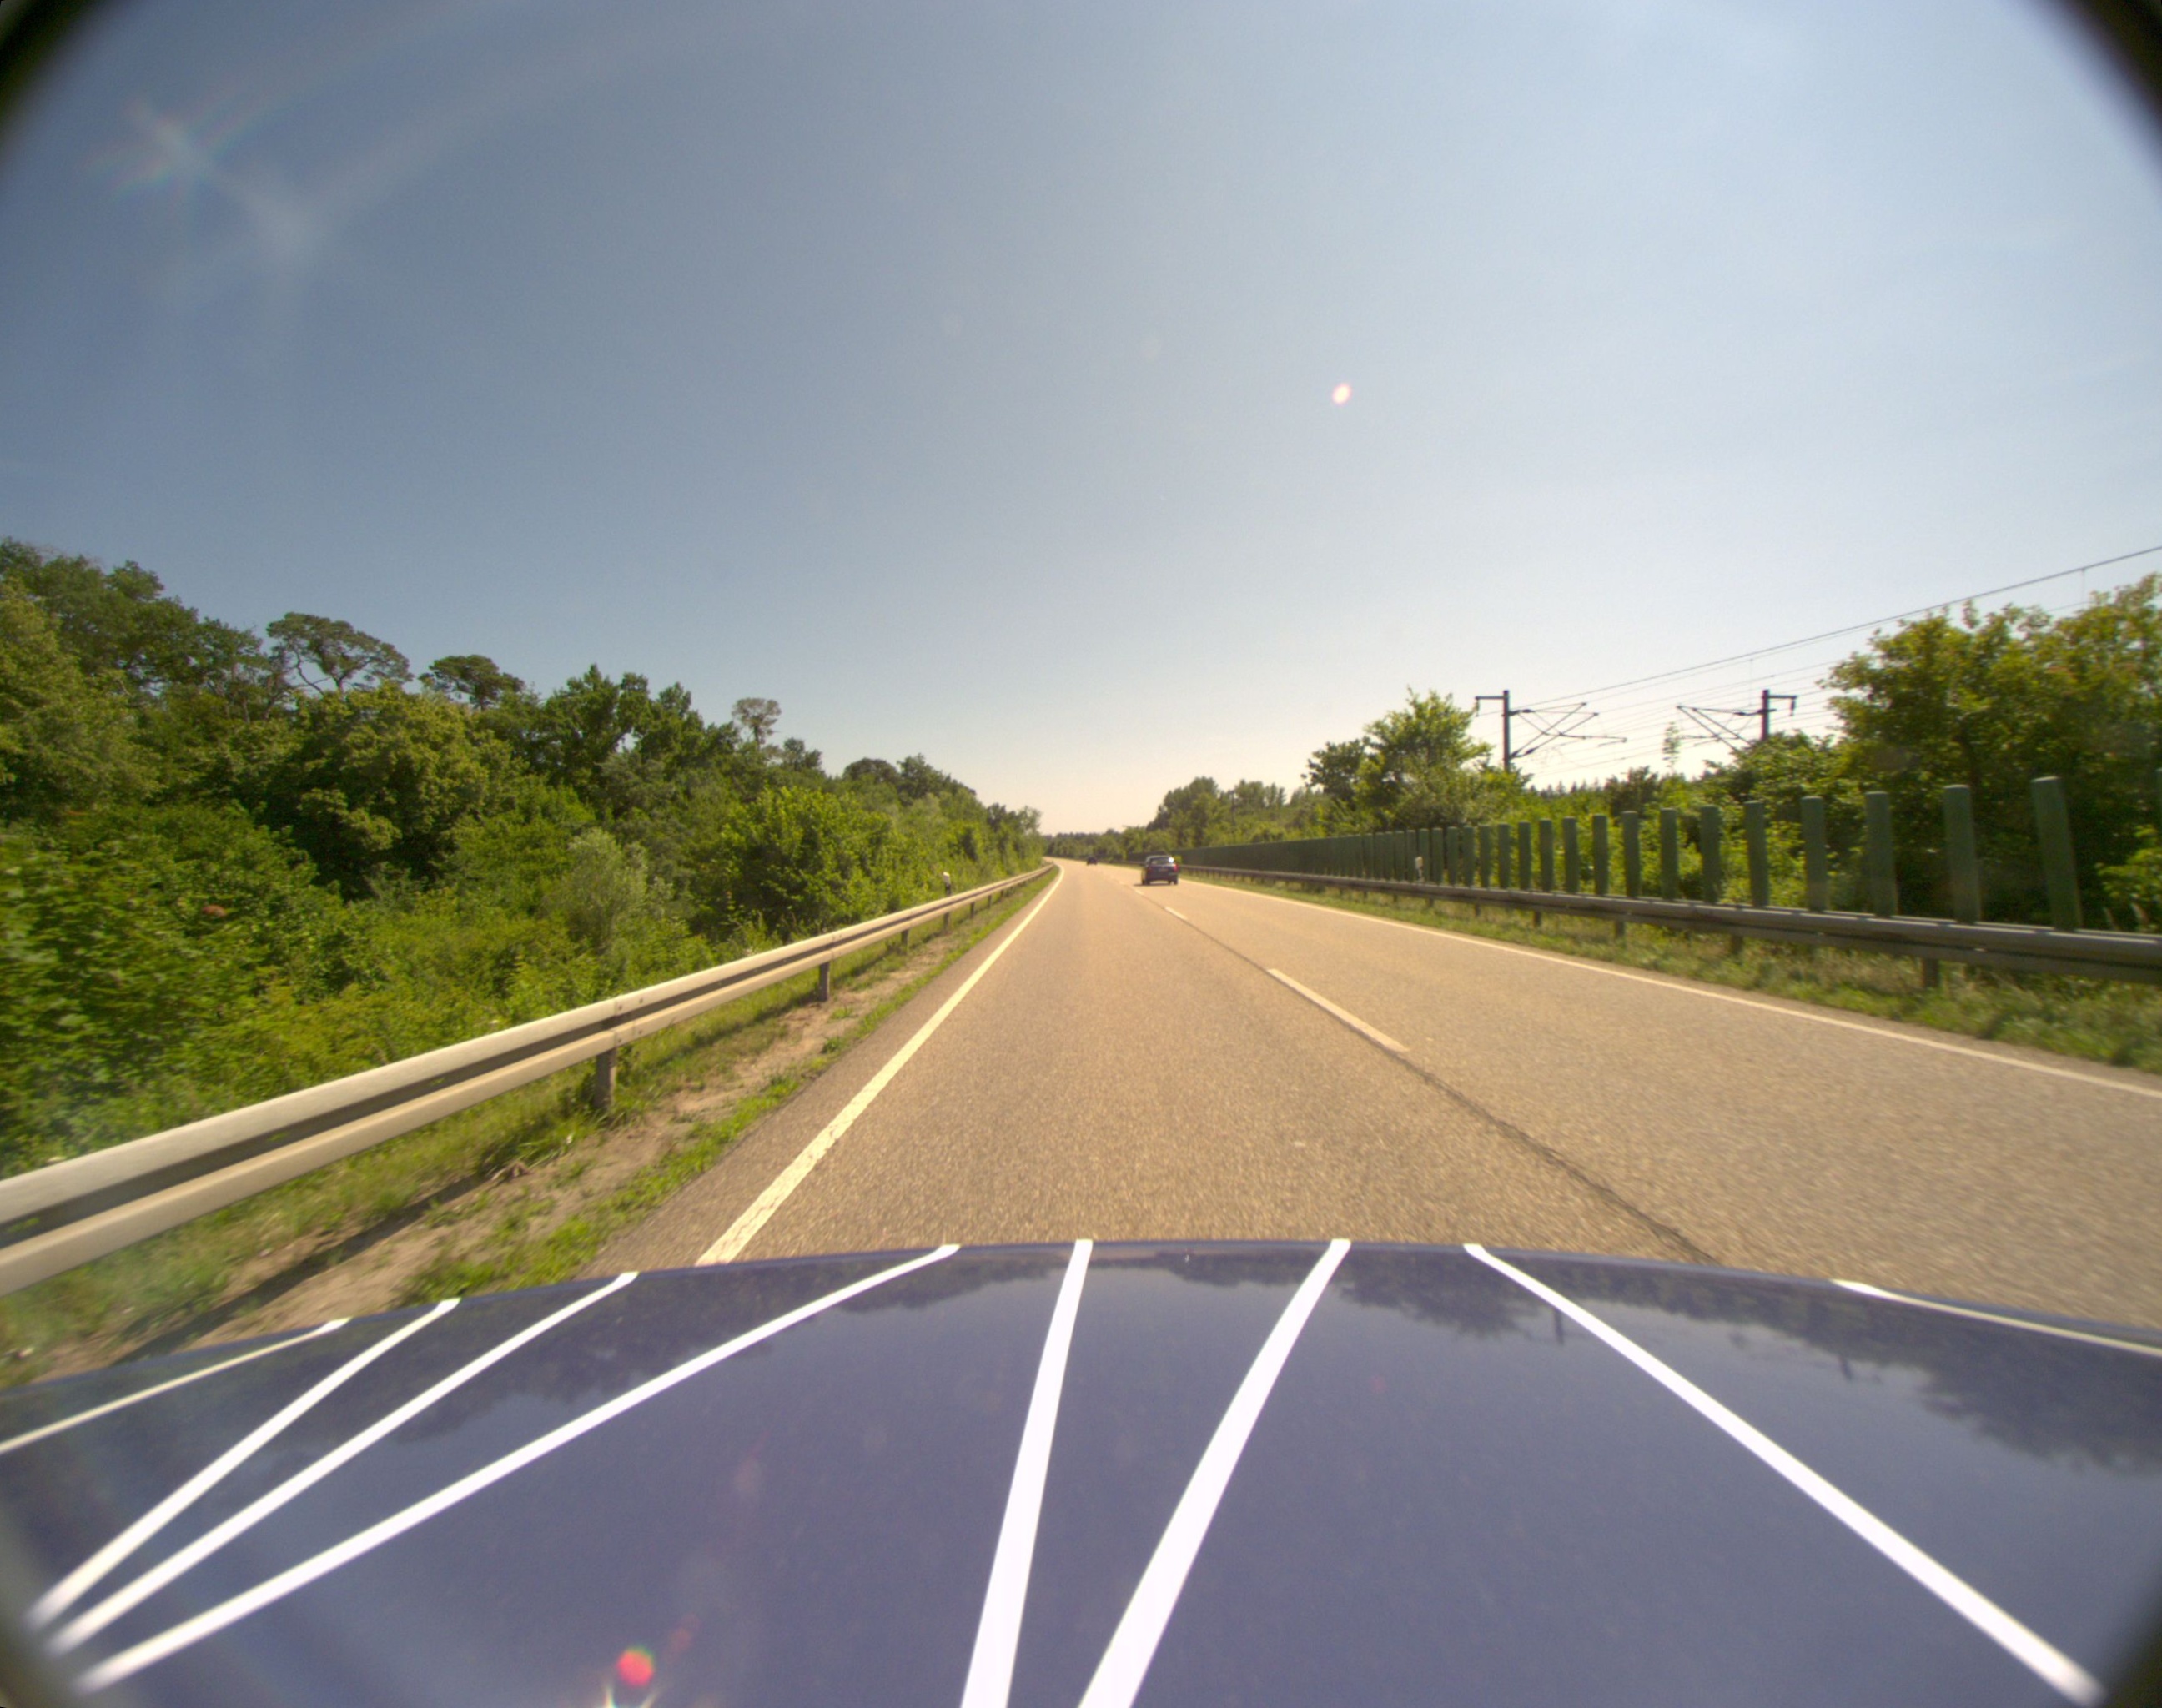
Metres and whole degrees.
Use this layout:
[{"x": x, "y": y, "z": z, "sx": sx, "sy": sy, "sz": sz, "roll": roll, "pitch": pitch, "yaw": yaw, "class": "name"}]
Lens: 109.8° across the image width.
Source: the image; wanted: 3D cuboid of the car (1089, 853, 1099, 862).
[{"x": 2.335, "y": 0.598, "z": 139.641, "sx": 1.768, "sy": 1.630, "sz": 4.126, "roll": -2, "pitch": 0, "yaw": 0, "class": "car"}]

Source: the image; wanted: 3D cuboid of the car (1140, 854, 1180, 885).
[{"x": 4.103, "y": 0.780, "z": 39.866, "sx": 1.652, "sy": 1.470, "sz": 3.676, "roll": -2, "pitch": 0, "yaw": -1, "class": "car"}]
